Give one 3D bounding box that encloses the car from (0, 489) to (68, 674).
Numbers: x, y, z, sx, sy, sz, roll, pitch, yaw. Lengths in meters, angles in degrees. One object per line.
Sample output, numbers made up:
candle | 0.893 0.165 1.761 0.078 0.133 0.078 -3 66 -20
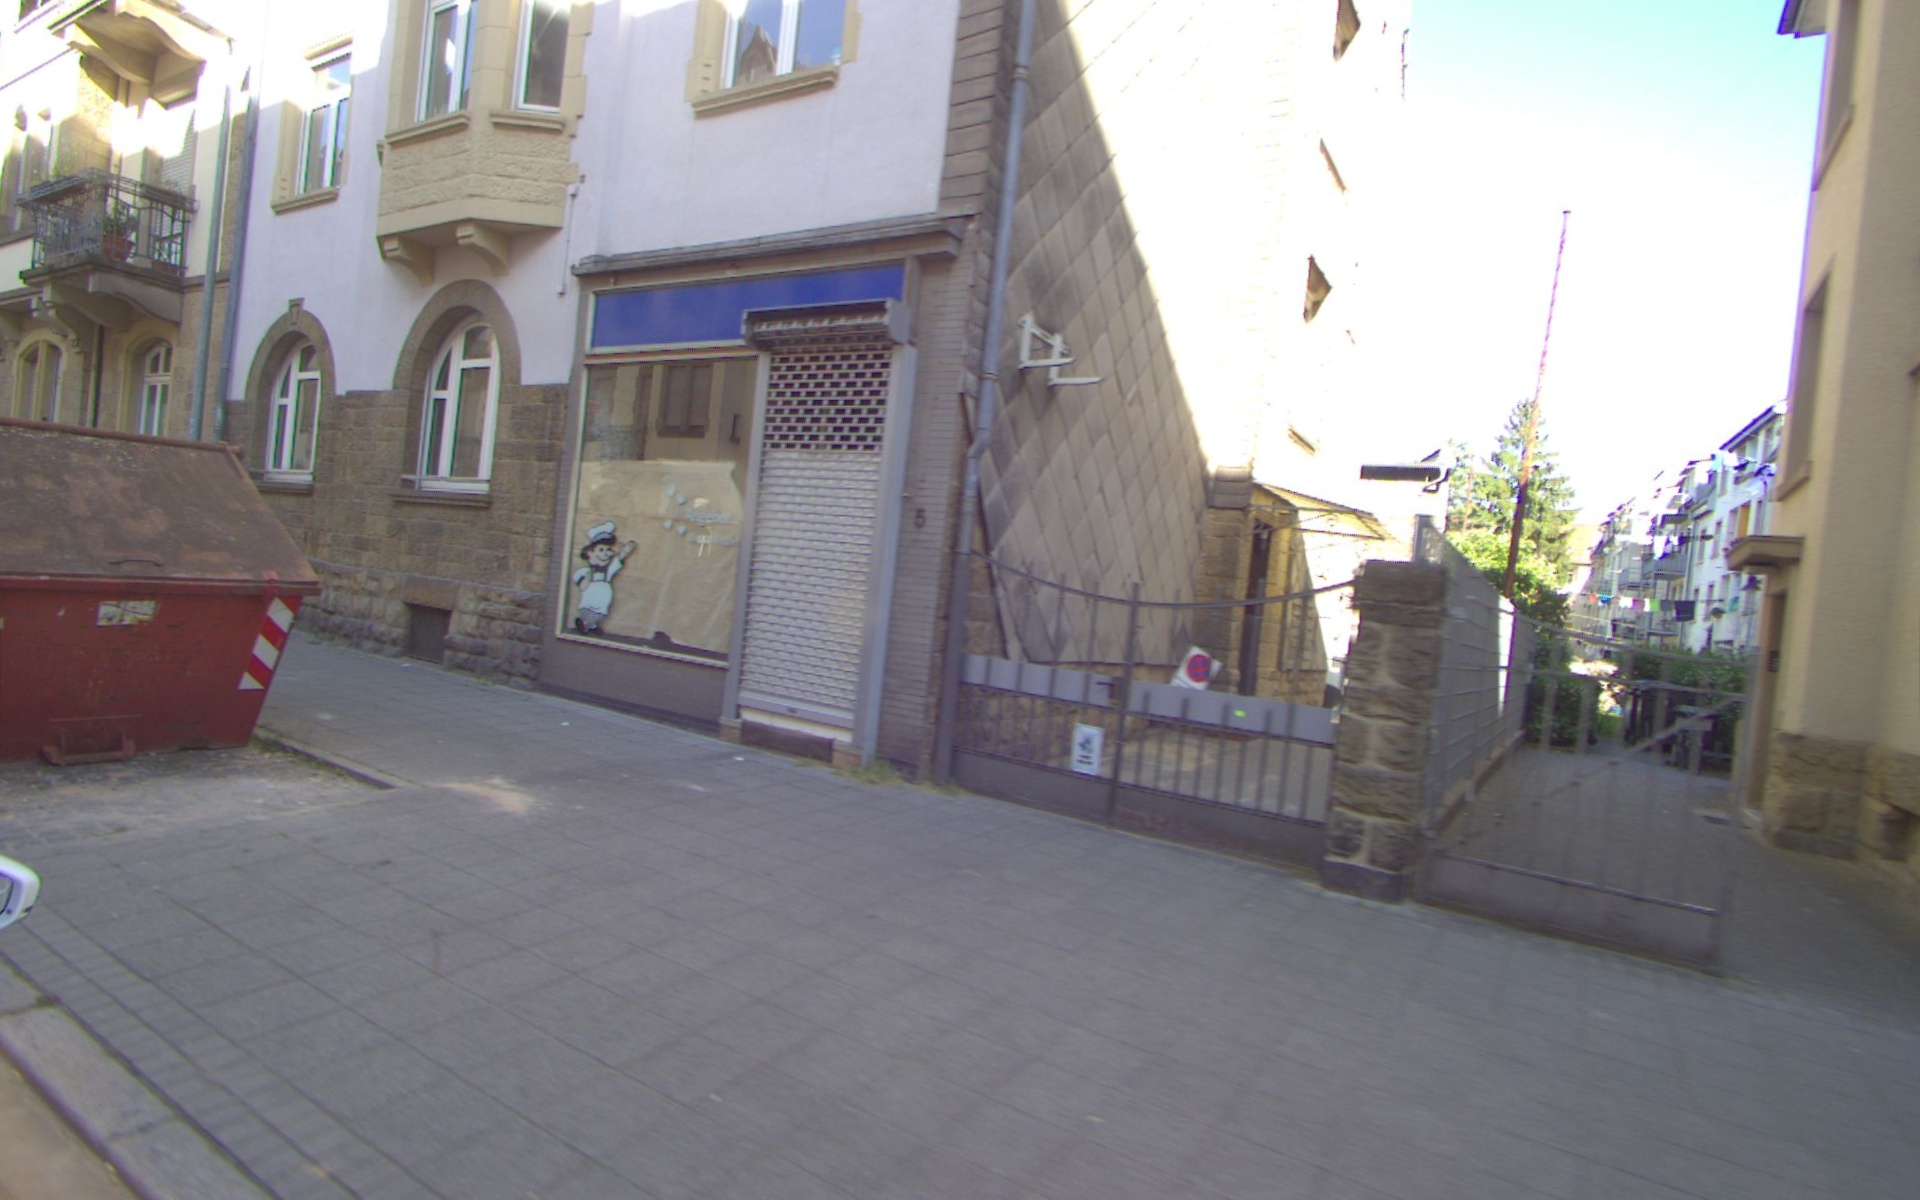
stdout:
car | -9.413 -0.368 8.361 3.742 1.447 1.789 7 1 29
